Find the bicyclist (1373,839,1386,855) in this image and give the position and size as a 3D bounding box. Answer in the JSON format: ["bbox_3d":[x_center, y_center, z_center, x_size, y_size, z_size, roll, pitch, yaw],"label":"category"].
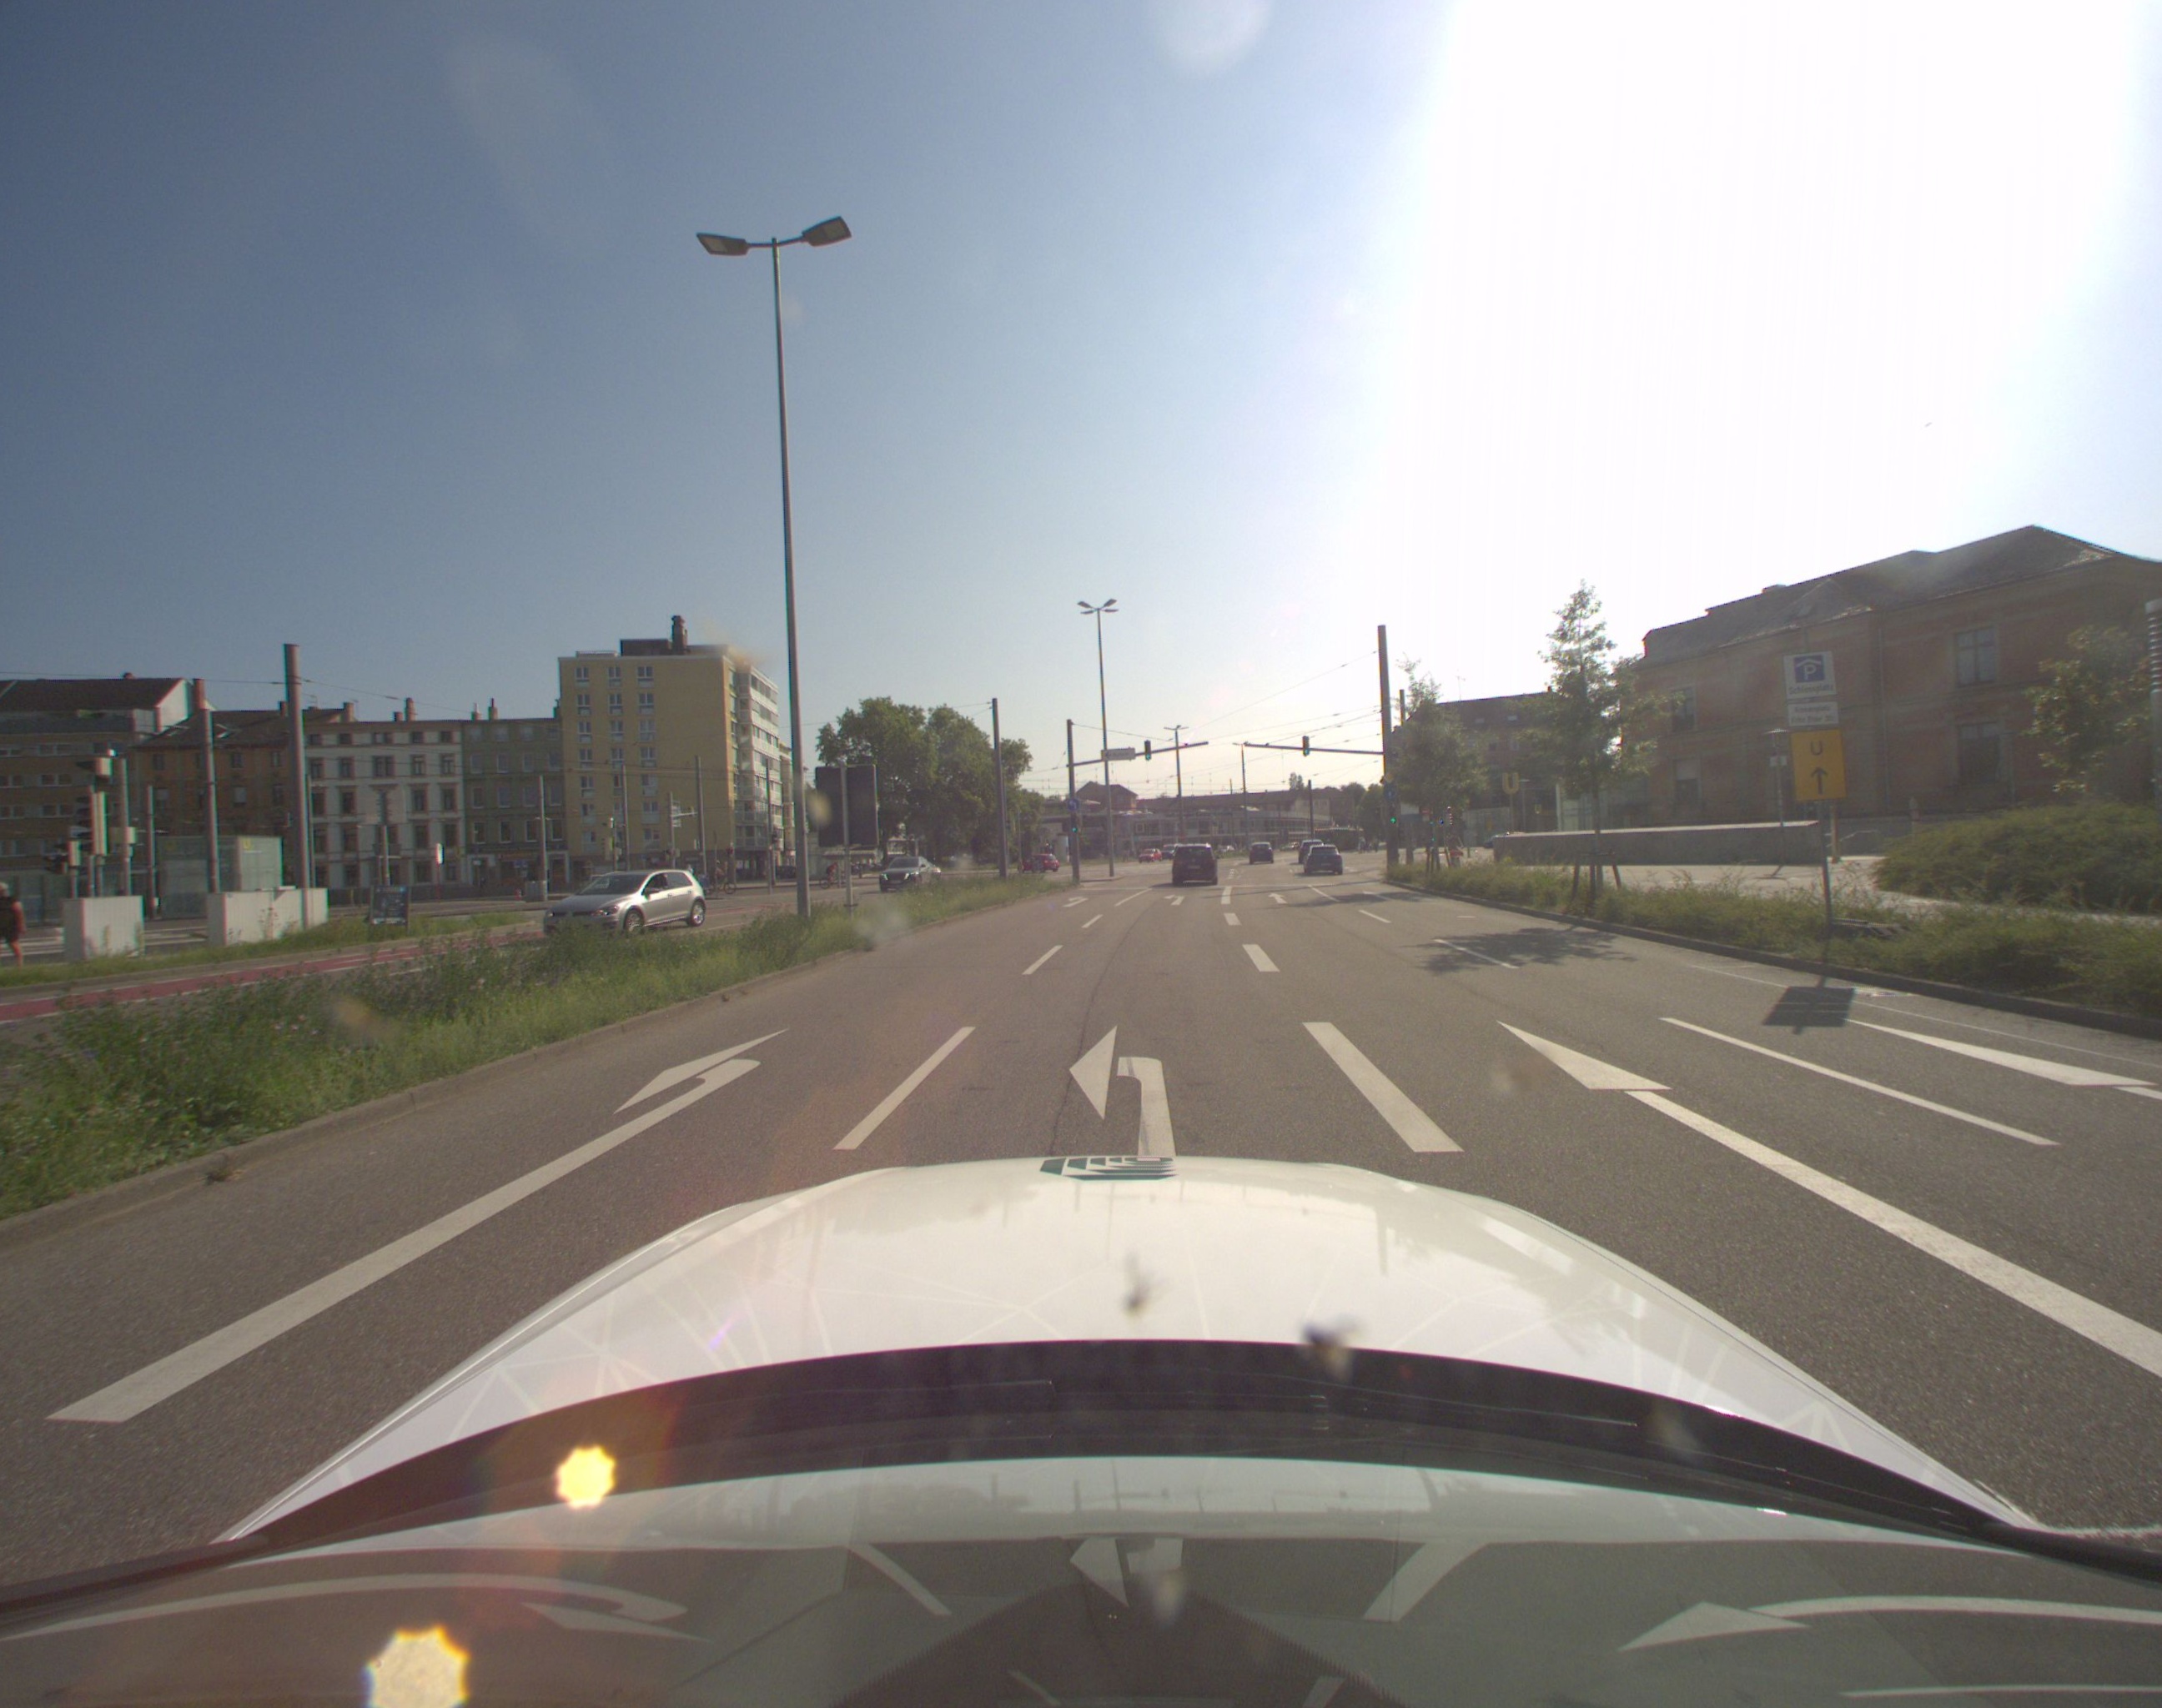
[{"bbox_3d":[33.162,-0.759,90.502,0.935,1.680,1.088,-2,0,-14],"label":"bicyclist"}]

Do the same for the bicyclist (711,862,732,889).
[{"bbox_3d":[-20.457,1.214,46.330,0.792,1.527,0.726,-2,0,-2],"label":"bicyclist"}]

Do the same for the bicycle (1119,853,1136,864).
[{"bbox_3d":[5.173,0.490,90.556,0.949,1.057,2.623,-2,0,26],"label":"bicycle"}]

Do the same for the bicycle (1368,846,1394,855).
[{"bbox_3d":[33.364,-0.401,90.558,2.622,0.964,1.088,-3,0,-15],"label":"bicycle"}]

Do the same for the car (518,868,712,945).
[{"bbox_3d":[-10.491,1.109,18.762,1.806,1.433,4.228,-3,0,3],"label":"car"}]

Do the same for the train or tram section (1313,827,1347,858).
[{"bbox_3d":[32.242,-1.476,105.280,2.630,3.699,10.651,-3,0,25],"label":"train or tram section"}]

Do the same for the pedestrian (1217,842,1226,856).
[{"bbox_3d":[15.111,-0.546,87.499,0.771,1.503,0.714,-3,0,21],"label":"pedestrian"}]

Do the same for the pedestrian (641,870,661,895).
[{"bbox_3d":[-30.305,1.997,57.428,0.921,1.690,0.920,-2,0,-8],"label":"pedestrian"}]

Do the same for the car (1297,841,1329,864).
[{"bbox_3d":[16.143,-0.126,56.781,1.813,1.428,4.427,-3,0,12],"label":"car"}]

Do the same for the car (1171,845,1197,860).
[{"bbox_3d":[11.610,-0.156,91.477,1.599,1.475,4.023,-5,-1,25],"label":"car"}]

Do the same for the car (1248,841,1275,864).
[{"bbox_3d":[13.628,-0.134,61.533,1.814,1.535,4.426,-3,0,11],"label":"car"}]

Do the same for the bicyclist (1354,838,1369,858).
[{"bbox_3d":[30.005,-0.651,87.169,0.939,2.024,1.083,-2,0,-28],"label":"bicyclist"}]

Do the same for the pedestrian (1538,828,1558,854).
[{"bbox_3d":[31.644,-0.892,55.194,0.842,1.690,0.911,-2,0,-44],"label":"pedestrian"}]

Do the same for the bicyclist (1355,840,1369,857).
[{"bbox_3d":[30.805,-0.562,89.366,0.935,1.799,1.088,-2,0,-14],"label":"bicyclist"}]

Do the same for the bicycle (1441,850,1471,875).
[{"bbox_3d":[15.618,0.351,33.946,0.714,0.959,1.928,-3,0,13],"label":"bicycle"}]

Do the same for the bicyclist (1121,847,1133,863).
[{"bbox_3d":[5.122,0.128,90.476,0.949,1.748,1.173,-2,0,25],"label":"bicyclist"}]

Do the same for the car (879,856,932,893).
[{"bbox_3d":[-8.512,0.941,39.789,1.690,1.617,4.457,-3,0,-2],"label":"car"}]

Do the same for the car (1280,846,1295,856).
[{"bbox_3d":[34.089,-0.503,134.377,1.599,1.475,4.024,-5,-1,25],"label":"car"}]

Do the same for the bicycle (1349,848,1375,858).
[{"bbox_3d":[30.069,-0.109,87.185,2.633,0.964,1.083,-3,0,-28],"label":"bicycle"}]

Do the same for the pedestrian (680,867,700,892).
[{"bbox_3d":[-27.477,1.764,57.246,0.921,1.690,0.920,-2,0,-8],"label":"pedestrian"}]

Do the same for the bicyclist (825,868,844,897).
[{"bbox_3d":[-14.523,1.657,47.973,0.879,1.652,0.726,-2,0,-2],"label":"bicyclist"}]

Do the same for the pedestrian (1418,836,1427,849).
[{"bbox_3d":[39.441,-1.325,94.045,0.671,1.471,0.541,-2,0,-35],"label":"pedestrian"}]

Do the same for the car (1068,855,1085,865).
[{"bbox_3d":[-0.642,0.999,130.674,1.687,1.522,4.115,-2,0,14],"label":"car"}]

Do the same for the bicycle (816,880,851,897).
[{"bbox_3d":[-14.559,2.030,47.968,1.808,0.932,0.725,-2,0,-2],"label":"bicycle"}]

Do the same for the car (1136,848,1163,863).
[{"bbox_3d":[7.522,0.109,89.696,1.599,1.475,4.023,-5,-1,25],"label":"car"}]

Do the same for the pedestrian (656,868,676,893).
[{"bbox_3d":[-29.211,1.881,57.293,0.921,1.690,0.920,-2,0,-8],"label":"pedestrian"}]

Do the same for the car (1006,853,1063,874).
[{"bbox_3d":[-3.736,0.763,65.574,4.355,1.535,1.843,-3,0,36],"label":"car"}]

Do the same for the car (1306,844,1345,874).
[{"bbox_3d":[12.906,0.231,43.162,1.812,1.428,4.430,-3,0,15],"label":"car"}]

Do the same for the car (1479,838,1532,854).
[{"bbox_3d":[40.110,-0.750,76.952,4.386,1.397,2.011,-2,0,-19],"label":"car"}]

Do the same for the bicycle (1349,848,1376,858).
[{"bbox_3d":[30.837,-0.142,89.372,2.622,0.964,1.088,-3,0,-15],"label":"bicycle"}]

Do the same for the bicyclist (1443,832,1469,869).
[{"bbox_3d":[15.582,-0.152,33.860,0.714,1.513,1.008,-3,0,14],"label":"bicyclist"}]

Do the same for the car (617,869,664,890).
[{"bbox_3d":[-39.077,2.278,72.219,4.491,1.678,2.013,-2,0,38],"label":"car"}]

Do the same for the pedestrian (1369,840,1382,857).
[{"bbox_3d":[31.902,-0.642,88.130,0.931,1.797,0.851,-2,0,-31],"label":"pedestrian"}]

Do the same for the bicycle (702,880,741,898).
[{"bbox_3d":[-20.445,1.970,46.329,1.808,0.932,0.725,-2,0,-2],"label":"bicycle"}]

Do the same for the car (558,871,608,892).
[{"bbox_3d":[-43.822,2.442,71.681,4.491,1.678,2.013,-2,0,34],"label":"car"}]

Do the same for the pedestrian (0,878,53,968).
[{"bbox_3d":[-22.167,1.422,16.874,0.774,1.800,0.701,-3,0,2],"label":"pedestrian"}]

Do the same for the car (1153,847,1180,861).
[{"bbox_3d":[10.231,-0.034,96.828,1.942,1.475,4.023,-5,-1,24],"label":"car"}]

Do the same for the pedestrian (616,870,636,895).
[{"bbox_3d":[-31.457,1.948,56.322,0.921,1.690,0.920,-2,0,-8],"label":"pedestrian"}]

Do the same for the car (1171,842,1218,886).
[{"bbox_3d":[4.844,0.386,34.742,1.815,1.714,4.422,-1,0,8],"label":"car"}]

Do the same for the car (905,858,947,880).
[{"bbox_3d":[-11.149,1.054,58.255,1.900,1.451,3.641,-2,0,-28],"label":"car"}]

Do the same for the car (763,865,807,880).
[{"bbox_3d":[-31.360,1.964,86.412,4.156,1.354,1.477,-2,0,-10],"label":"car"}]
